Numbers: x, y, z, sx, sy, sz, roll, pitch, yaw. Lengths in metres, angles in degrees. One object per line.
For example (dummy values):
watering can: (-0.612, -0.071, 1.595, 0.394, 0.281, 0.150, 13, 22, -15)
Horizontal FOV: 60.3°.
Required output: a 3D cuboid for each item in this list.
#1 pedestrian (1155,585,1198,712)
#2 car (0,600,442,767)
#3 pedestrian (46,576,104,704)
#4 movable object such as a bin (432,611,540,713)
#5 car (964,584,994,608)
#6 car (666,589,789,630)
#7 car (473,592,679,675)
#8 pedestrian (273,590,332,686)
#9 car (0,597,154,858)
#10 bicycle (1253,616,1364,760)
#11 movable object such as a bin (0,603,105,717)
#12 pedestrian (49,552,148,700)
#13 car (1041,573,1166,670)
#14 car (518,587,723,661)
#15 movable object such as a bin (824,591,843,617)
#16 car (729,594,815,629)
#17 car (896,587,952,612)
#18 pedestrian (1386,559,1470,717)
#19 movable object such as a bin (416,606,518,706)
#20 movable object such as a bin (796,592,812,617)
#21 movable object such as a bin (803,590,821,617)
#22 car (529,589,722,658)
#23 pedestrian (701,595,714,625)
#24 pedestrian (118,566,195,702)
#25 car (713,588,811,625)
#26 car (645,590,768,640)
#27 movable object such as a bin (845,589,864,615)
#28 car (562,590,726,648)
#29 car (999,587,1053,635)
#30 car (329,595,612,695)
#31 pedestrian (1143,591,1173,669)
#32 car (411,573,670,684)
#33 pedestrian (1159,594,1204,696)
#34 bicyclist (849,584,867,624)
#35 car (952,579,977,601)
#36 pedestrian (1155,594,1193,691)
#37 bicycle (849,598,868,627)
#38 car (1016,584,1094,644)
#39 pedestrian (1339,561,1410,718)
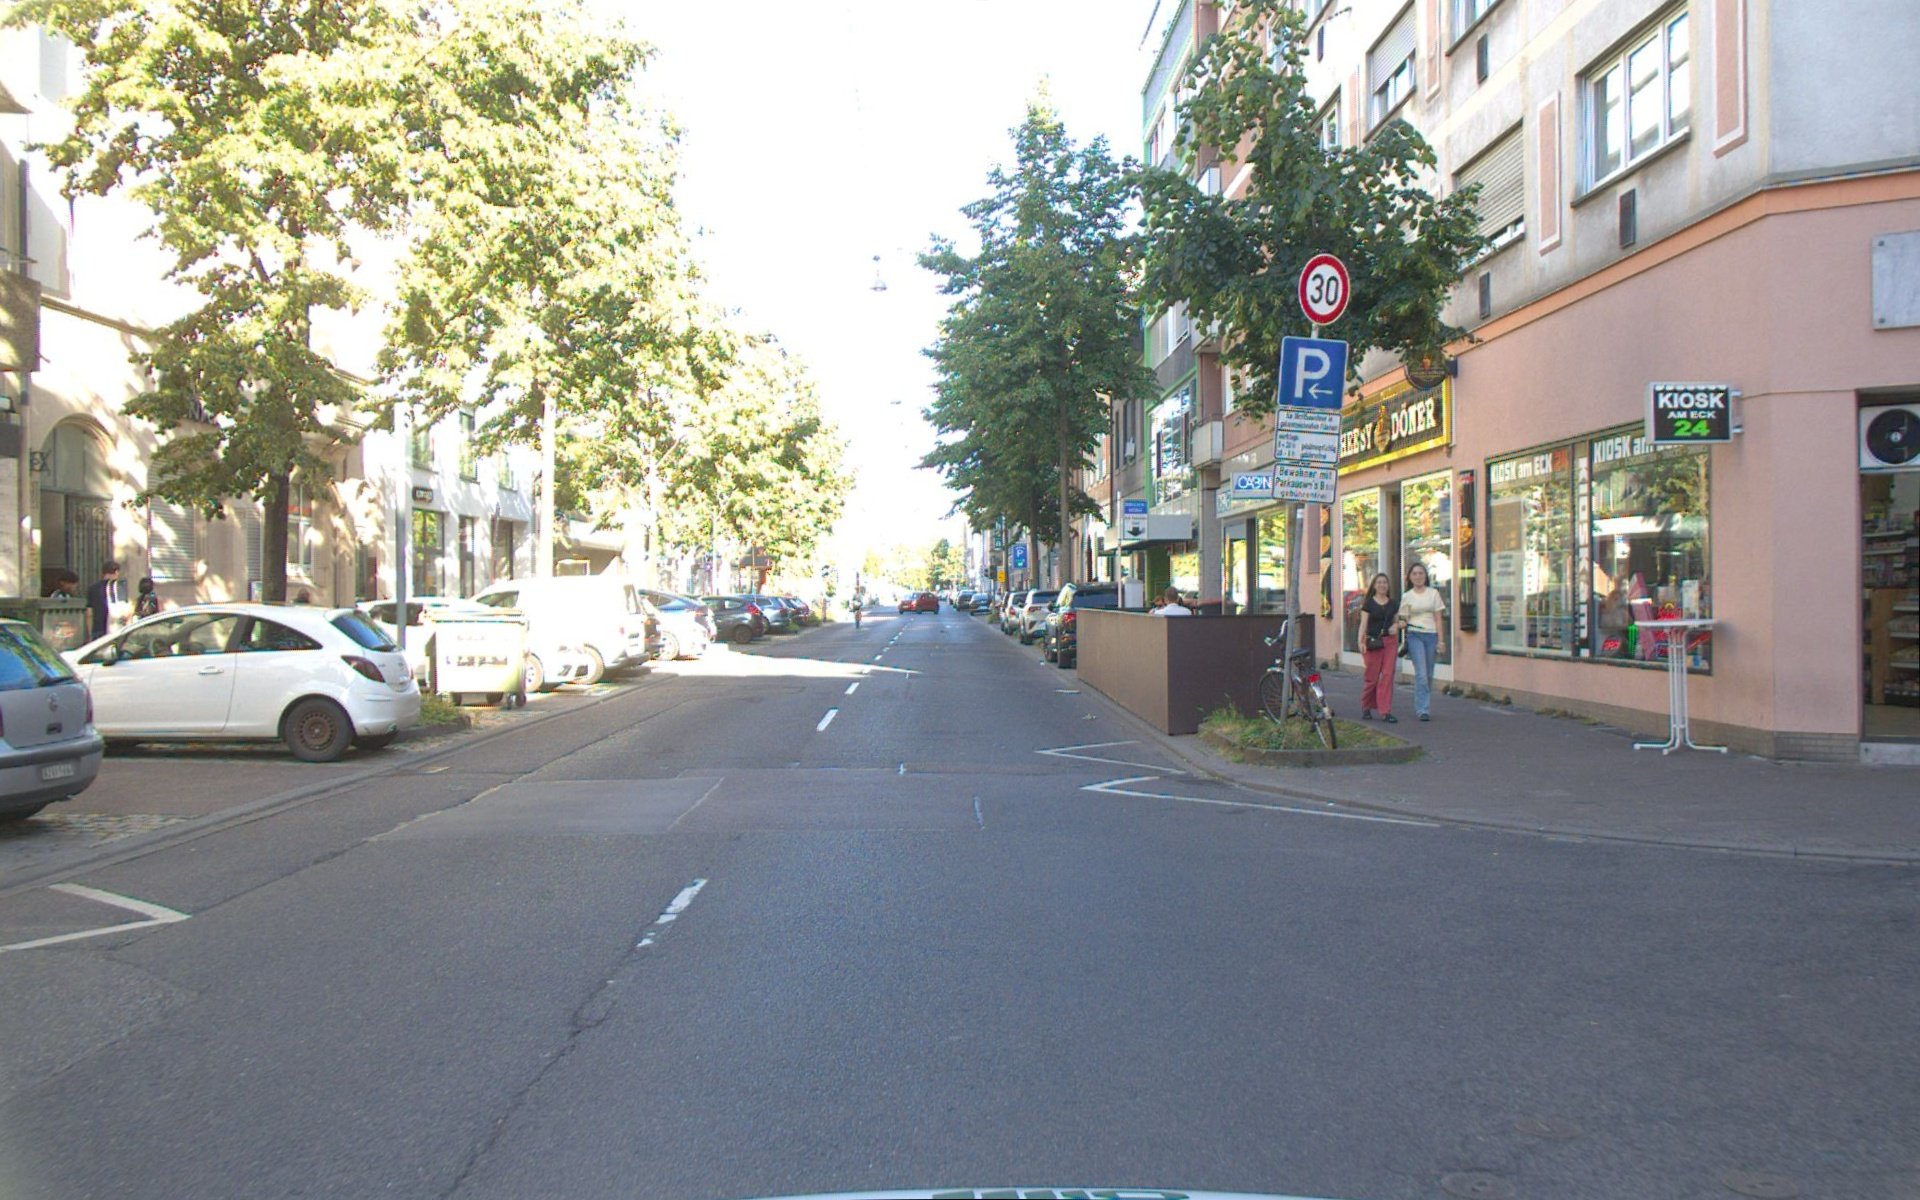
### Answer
pedestrian: (2.686, 0.594, 20.517, 0.463, 1.556, 0.462, 0, 0, 0)
car: (-7.106, 0.755, 15.956, 3.703, 1.489, 1.709, 0, 1, -4)
pedestrian: (-12.000, 0.532, 22.432, 0.424, 1.701, 0.639, 0, 0, 2)
movable object such as a bin: (-6.437, 0.828, 22.529, 1.212, 1.325, 0.870, -1, 0, -2)
car: (1.285, -0.311, 115.895, 1.879, 1.504, 4.964, -5, 1, -1)
car: (-8.742, 0.334, 62.488, 4.403, 1.484, 1.789, 1, 0, -3)
car: (-7.664, 0.647, 33.264, 3.722, 1.585, 1.791, -1, 0, -1)
pedestrian: (-10.645, 0.601, 26.785, 0.580, 1.520, 0.842, 2, 0, 0)
car: (-7.432, 0.721, 10.300, 3.917, 1.490, 1.748, 1, -1, -1)
bicycle: (3.205, 0.773, 15.381, 0.497, 1.184, 2.144, -1, 1, -2)
movable object such as a bin: (-11.807, 0.759, 21.421, 0.804, 1.422, 1.227, 0, 0, 2)
pedestrian: (-10.857, 0.319, 20.864, 0.759, 1.797, 0.763, 3, 0, -3)
car: (2.859, 0.385, 33.911, 1.954, 1.719, 4.515, -4, 1, -2)
car: (-7.721, 0.538, 37.928, 4.277, 1.597, 1.946, -1, 0, -1)
movable object such as a bin: (-7.374, 0.218, 96.212, 1.021, 1.497, 1.143, -1, 0, -2)
car: (-8.410, 0.512, 74.252, 3.672, 1.494, 1.739, 0, 0, -2)
car: (-2.574, -0.031, 119.083, 3.718, 1.561, 1.643, -3, 1, -36)
pedestrian: (5.156, 0.406, 18.259, 0.628, 1.673, 0.748, -3, 0, -2)
movable object such as a bin: (-6.989, 0.785, 23.496, 1.168, 1.369, 0.931, -1, 0, -2)
movable object such as a bin: (-8.430, 0.243, 89.395, 0.739, 1.364, 0.805, -1, 0, -2)
movable object such as a bin: (-8.575, 0.196, 96.066, 0.944, 1.497, 1.143, -1, 0, -2)
car: (-8.093, 0.550, 40.312, 4.277, 1.597, 1.980, -1, 0, -1)
pedestrian: (-12.261, 0.505, 80.334, 0.497, 1.433, 0.825, 0, 1, 3)
pedestrian: (-10.132, 0.417, 20.879, 0.554, 1.655, 0.726, 3, 0, -3)
car: (-8.245, 0.261, 69.070, 3.838, 1.511, 1.771, 0, 0, 0)
car: (-7.863, 0.443, 51.551, 3.709, 1.484, 1.777, -1, 0, -9)
movable object such as a bin: (-6.140, 0.128, 96.407, 1.021, 1.497, 1.452, -1, 0, -2)
car: (-8.542, 0.501, 44.974, 4.162, 1.484, 1.978, -1, 0, -5)
car: (2.377, 0.364, 60.131, 1.581, 1.555, 4.233, -4, 1, -2)
car: (-7.656, 0.682, 26.152, 3.898, 1.489, 1.887, 0, 1, -1)
pedestrian: (3.458, 0.522, 28.840, 0.462, 1.354, 0.483, 0, 0, 13)
car: (-7.255, 0.460, 28.932, 4.022, 1.868, 2.038, 0, 1, -1)
pedestrian: (3.080, 0.614, 22.980, 0.541, 1.403, 0.594, 0, 0, 0)
bicyclist: (-4.490, 0.182, 72.873, 0.710, 1.730, 1.282, -1, 0, -1)
car: (0.355, -0.823, 135.267, 1.933, 1.755, 4.823, 0, 1, -1)
pedestrian: (3.090, 0.603, 23.914, 0.463, 1.386, 0.594, 0, 0, 0)
bicycle: (-4.490, 0.543, 72.997, 0.710, 1.189, 2.197, -1, 1, 0)
car: (2.690, 0.356, 47.743, 1.845, 1.553, 4.233, -3, 1, -2)
pedestrian: (4.549, 0.419, 18.170, 0.503, 1.673, 0.748, -3, 0, -2)
